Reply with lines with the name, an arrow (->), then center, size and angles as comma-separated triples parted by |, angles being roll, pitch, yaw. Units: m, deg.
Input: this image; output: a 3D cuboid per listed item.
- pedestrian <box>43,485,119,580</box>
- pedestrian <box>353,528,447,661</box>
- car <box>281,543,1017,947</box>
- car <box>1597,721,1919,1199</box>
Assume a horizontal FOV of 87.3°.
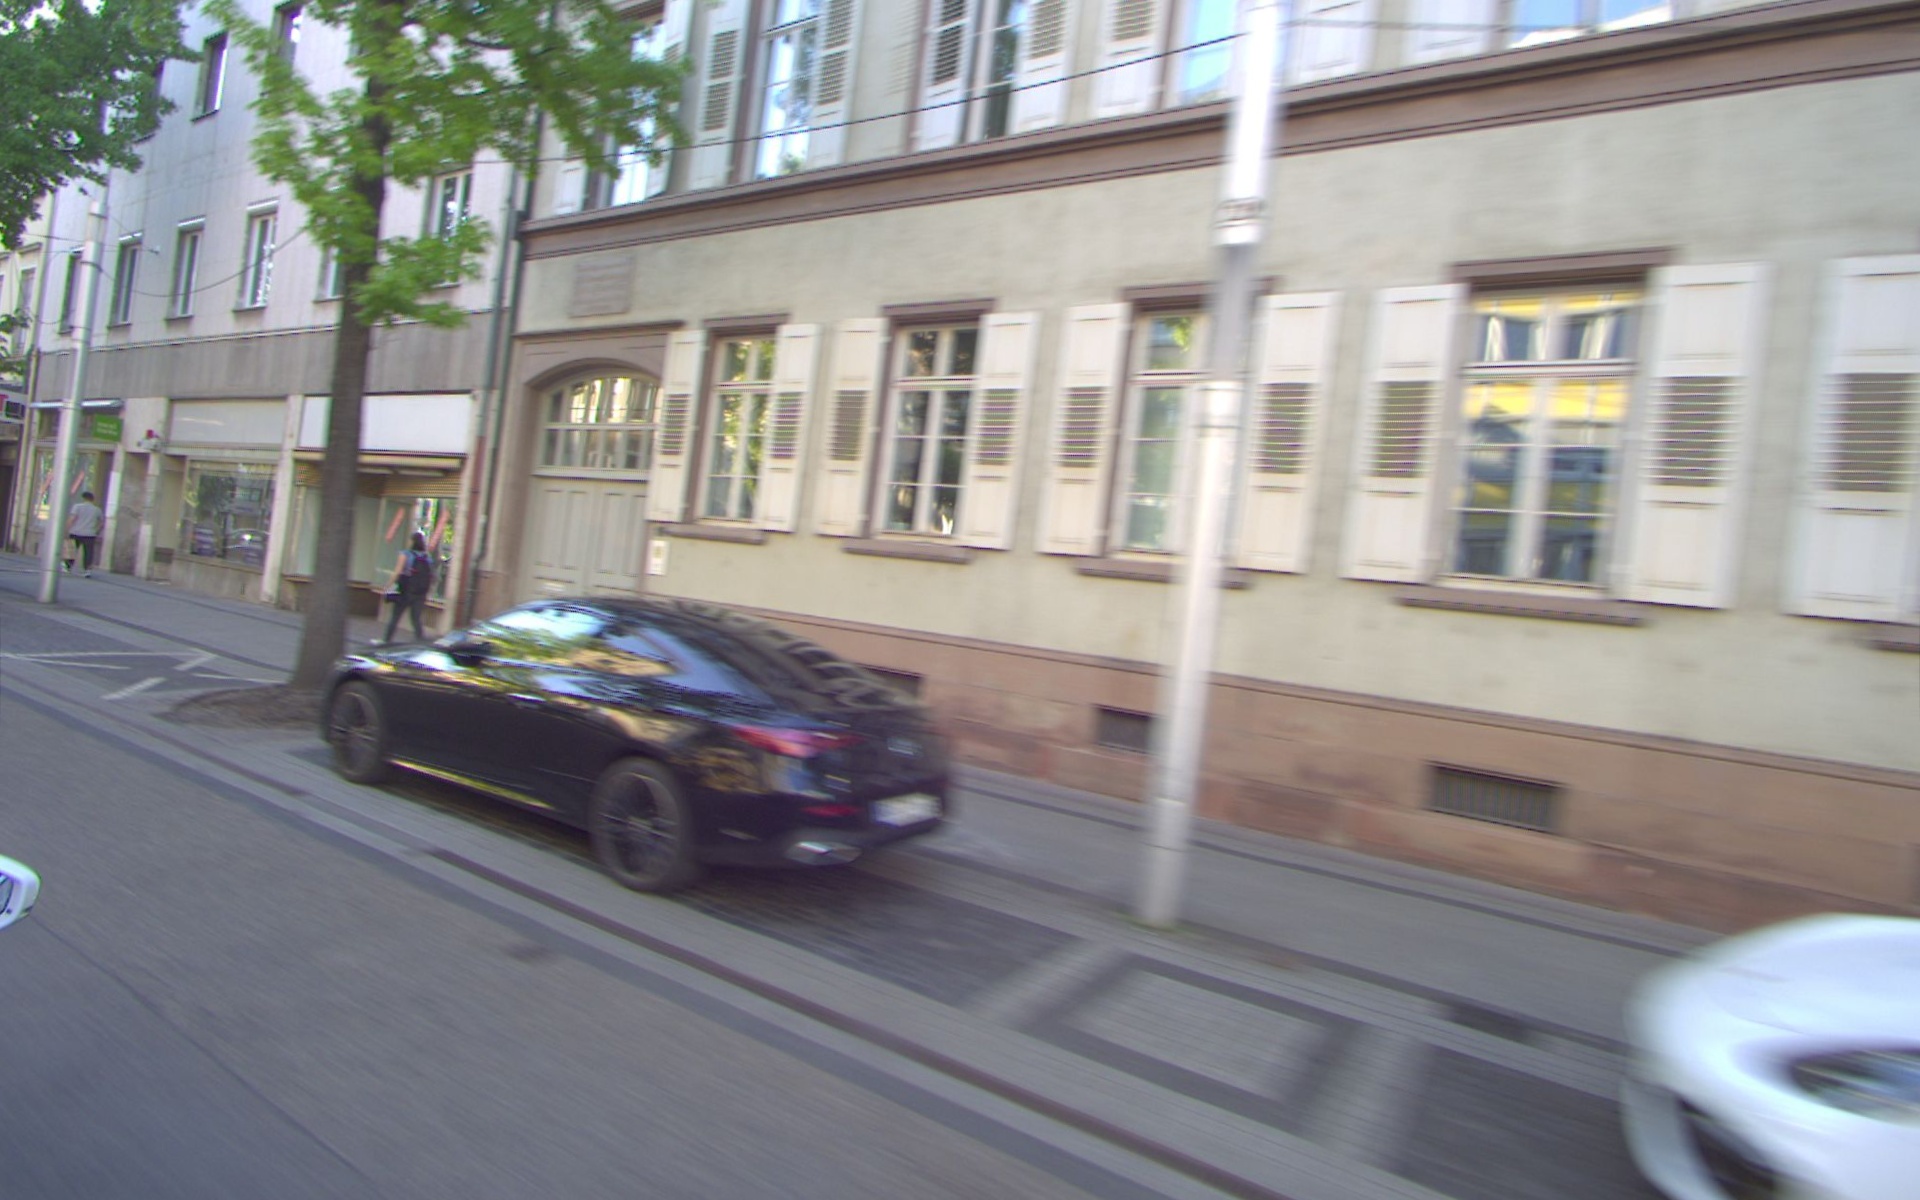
pedestrian -> -17.639, -1.347, 20.188 | 0.917, 1.776, 0.858 | 7, 3, 32
pedestrian -> -7.569, -0.076, 13.607 | 0.873, 1.687, 0.658 | 7, 2, 32
car -> -2.185, 0.633, 6.511 | 4.683, 1.497, 1.834 | 7, 1, 32
car -> 4.315, 1.422, 2.190 | 4.808, 1.439, 1.913 | 7, 1, 33
